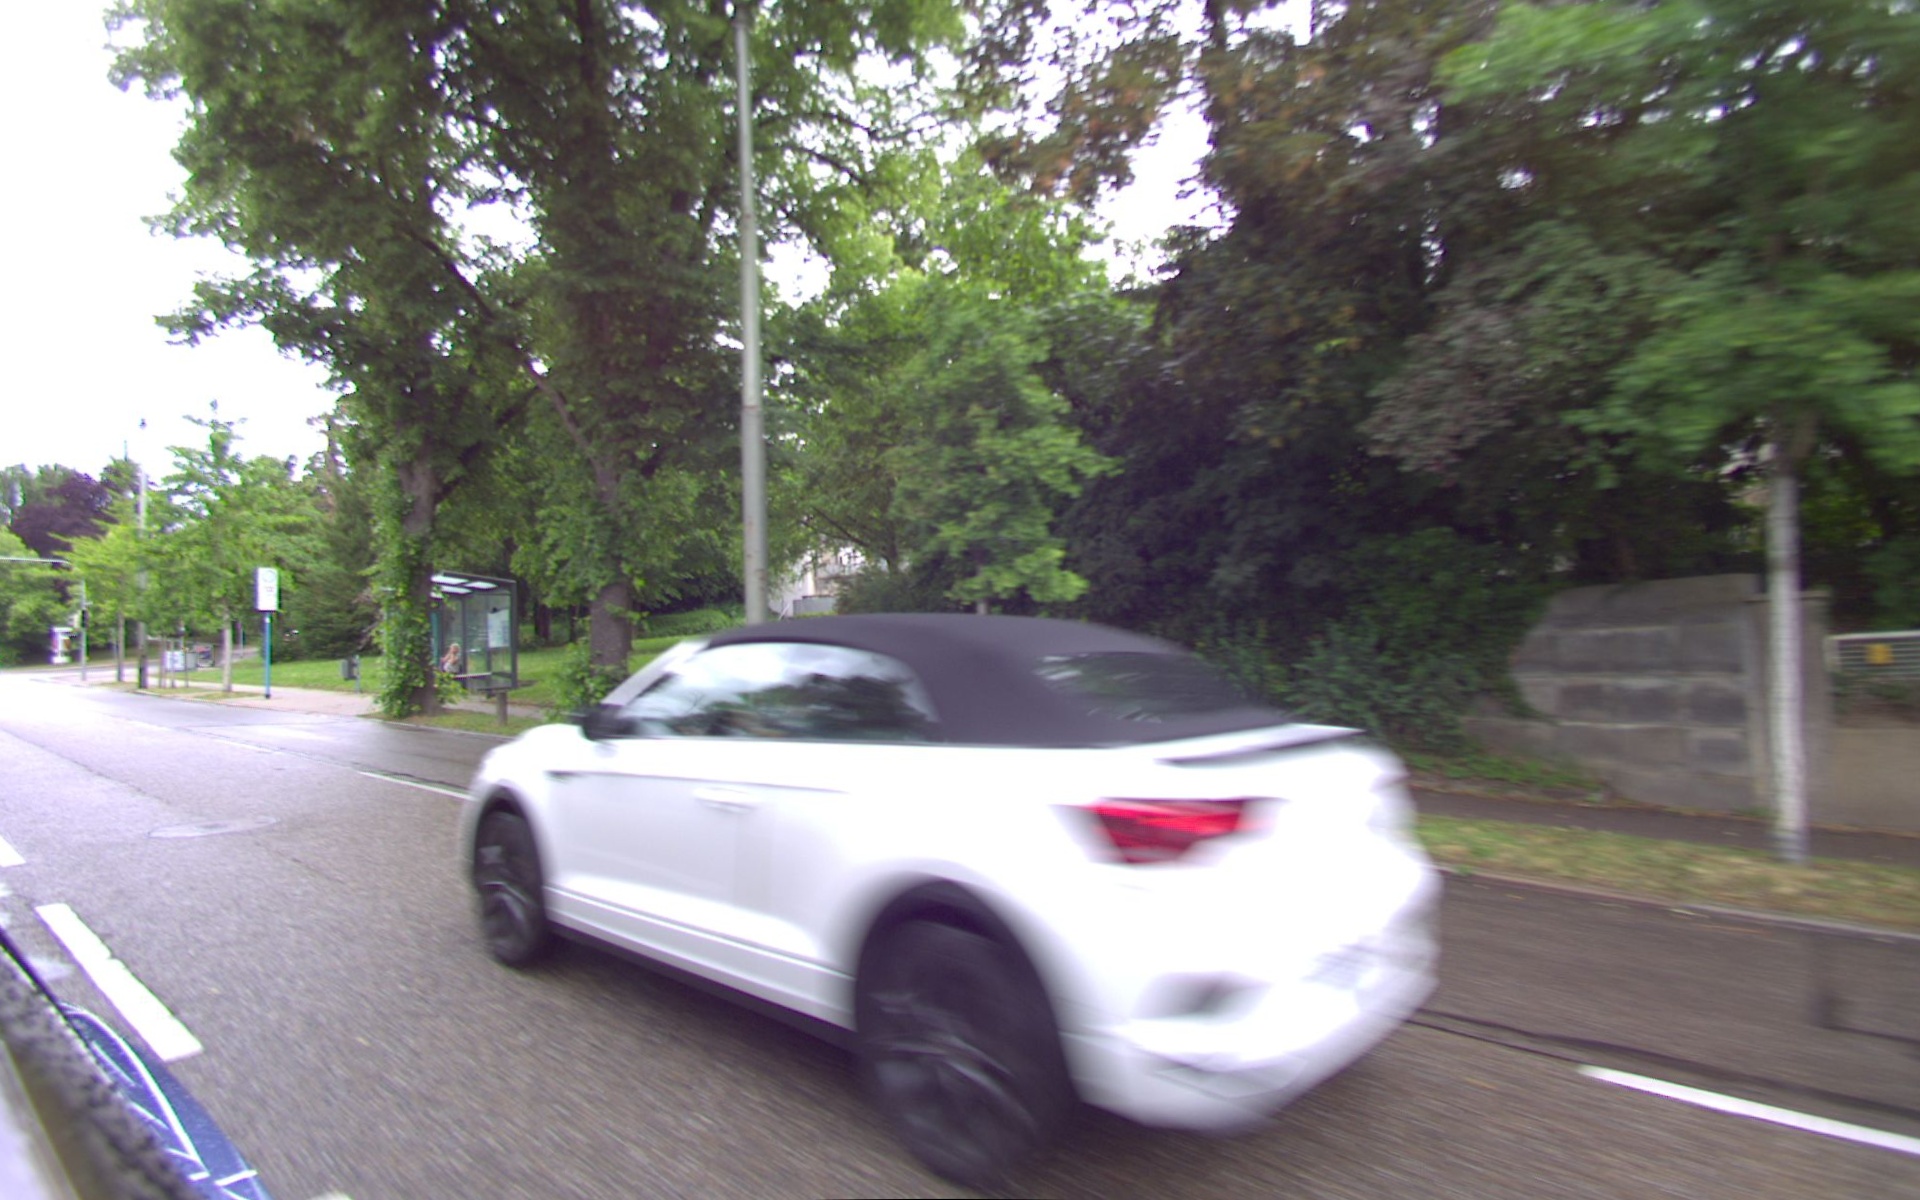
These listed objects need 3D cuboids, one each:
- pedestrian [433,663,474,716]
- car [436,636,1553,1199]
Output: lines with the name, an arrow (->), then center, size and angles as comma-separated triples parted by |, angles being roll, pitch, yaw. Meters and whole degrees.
pedestrian -> -12.984, 2.283, 25.926 | 0.766, 1.311, 0.745 | 0, -3, -41
car -> -0.242, 0.900, 3.898 | 4.091, 1.521, 1.775 | -2, -3, 41
